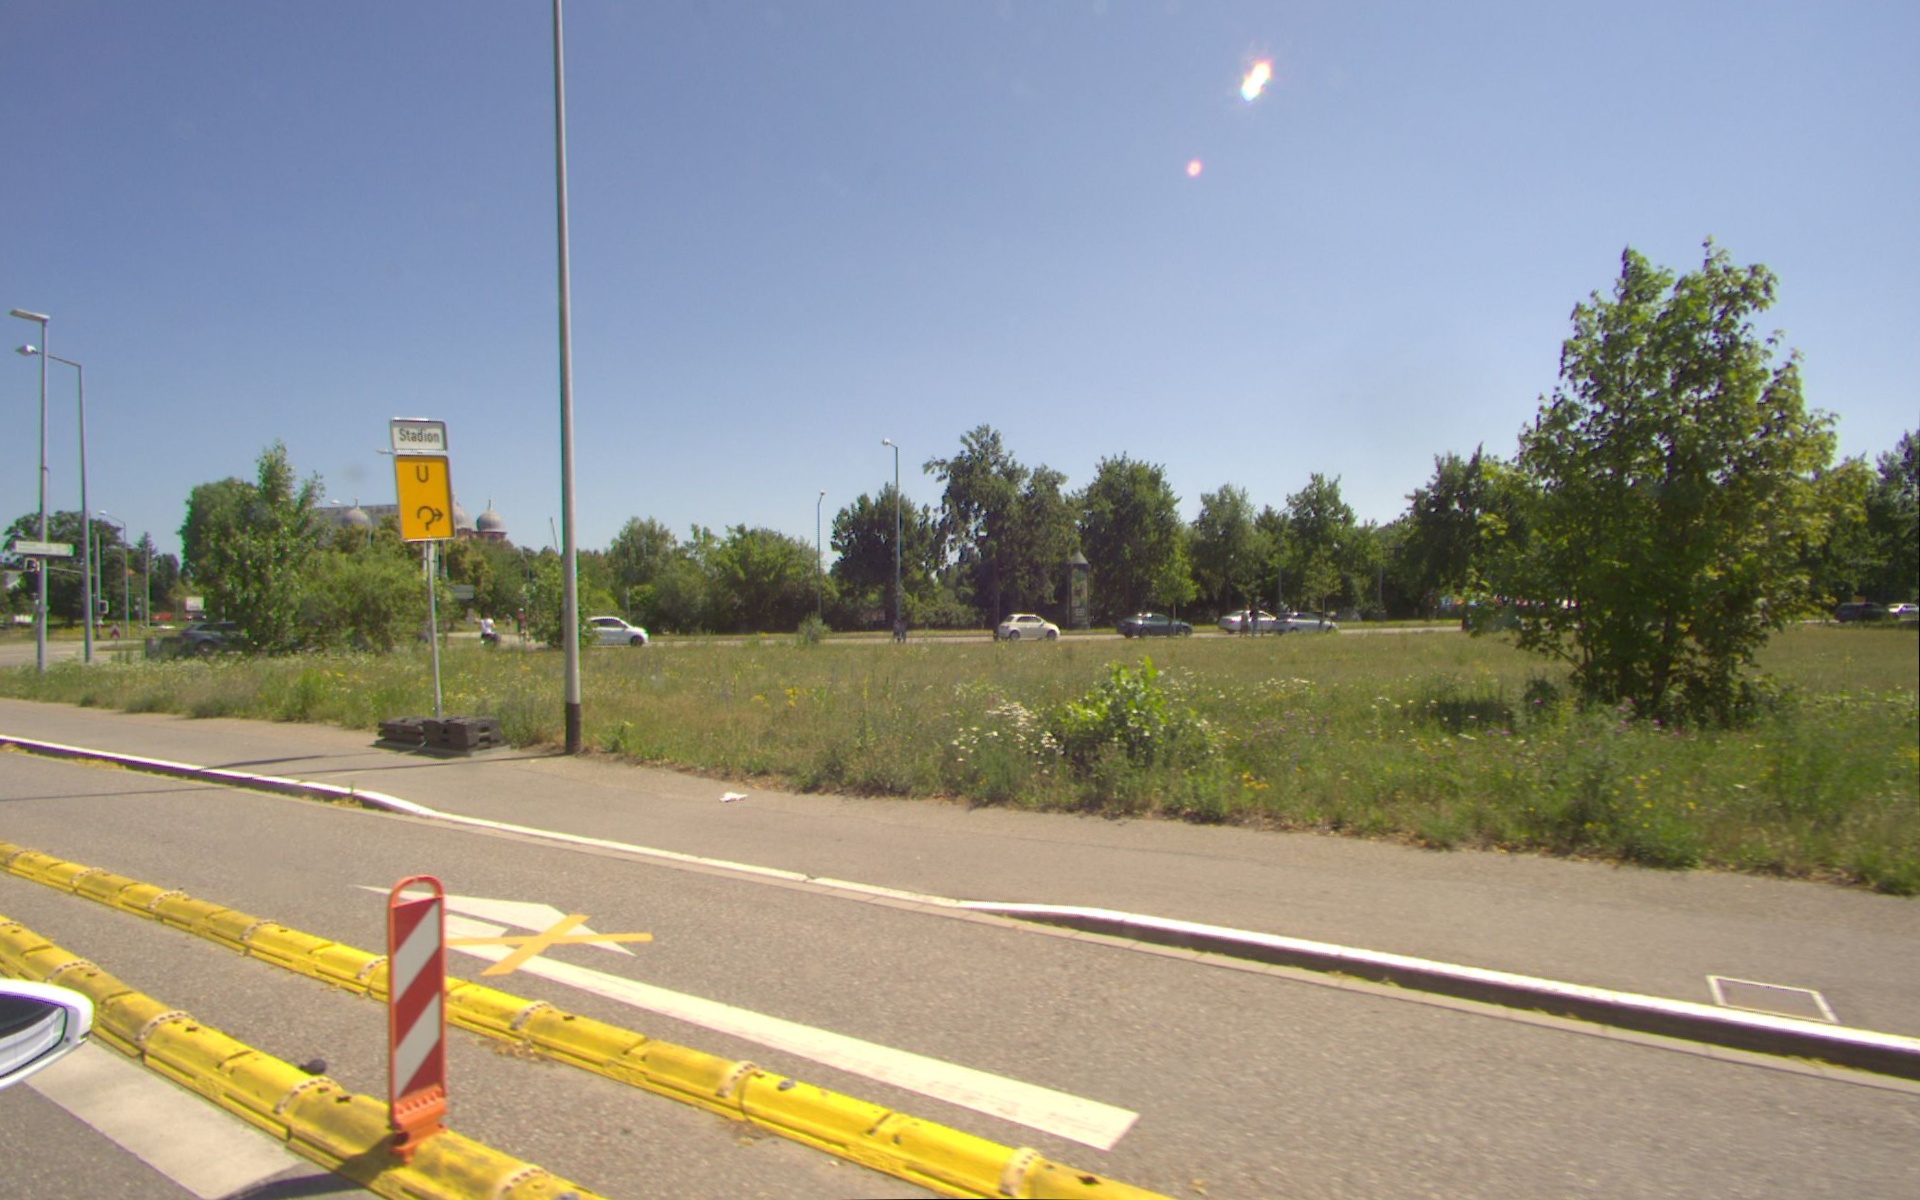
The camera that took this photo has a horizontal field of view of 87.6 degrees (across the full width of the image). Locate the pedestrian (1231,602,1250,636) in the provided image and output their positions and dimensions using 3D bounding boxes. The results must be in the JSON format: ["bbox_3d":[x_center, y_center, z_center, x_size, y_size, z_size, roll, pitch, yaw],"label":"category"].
[{"bbox_3d":[13.335,0.917,47.577,0.724,1.583,0.497,0,-1,-19],"label":"pedestrian"}]

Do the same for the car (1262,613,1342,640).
[{"bbox_3d":[20.168,1.552,59.062,3.999,1.524,1.999,0,-1,-12],"label":"car"}]

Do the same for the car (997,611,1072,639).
[{"bbox_3d":[4.225,1.414,56.804,3.929,1.572,1.738,0,-1,-16],"label":"car"}]

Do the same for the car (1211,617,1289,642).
[{"bbox_3d":[18.548,1.880,64.094,4.559,1.572,1.738,0,-1,-16],"label":"car"}]

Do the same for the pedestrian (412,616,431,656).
[{"bbox_3d":[-21.813,1.452,40.559,0.506,1.583,0.496,0,-1,32],"label":"pedestrian"}]

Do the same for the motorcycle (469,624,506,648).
[{"bbox_3d":[-19.367,1.463,41.095,0.619,0.982,1.709,0,-1,3],"label":"motorcycle"}]

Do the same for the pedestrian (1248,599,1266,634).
[{"bbox_3d":[14.698,0.823,49.587,0.724,1.712,0.497,0,-1,-19],"label":"pedestrian"}]

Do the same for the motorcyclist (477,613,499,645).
[{"bbox_3d":[-19.392,1.173,41.141,0.570,1.306,0.615,0,-1,3],"label":"motorcyclist"}]

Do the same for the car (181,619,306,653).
[{"bbox_3d":[-30.517,1.521,42.718,4.165,1.408,1.884,1,-2,-43],"label":"car"}]

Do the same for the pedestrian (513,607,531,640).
[{"bbox_3d":[-24.811,1.332,56.742,0.726,1.894,0.649,-1,-1,33],"label":"pedestrian"}]

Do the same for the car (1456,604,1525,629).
[{"bbox_3d":[35.074,1.101,66.177,3.929,1.572,1.738,0,-1,-16],"label":"car"}]

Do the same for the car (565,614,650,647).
[{"bbox_3d":[-17.663,1.519,50.121,3.934,1.572,1.735,1,-1,-22],"label":"car"}]

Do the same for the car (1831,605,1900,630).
[{"bbox_3d":[65.305,1.276,72.231,3.928,1.772,1.806,0,-1,-15],"label":"car"}]

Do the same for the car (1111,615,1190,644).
[{"bbox_3d":[11.160,1.742,58.525,4.340,1.571,1.734,2,-2,-25],"label":"car"}]

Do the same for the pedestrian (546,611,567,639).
[{"bbox_3d":[-23.117,1.439,57.330,0.811,1.583,0.791,-1,-1,33],"label":"pedestrian"}]
